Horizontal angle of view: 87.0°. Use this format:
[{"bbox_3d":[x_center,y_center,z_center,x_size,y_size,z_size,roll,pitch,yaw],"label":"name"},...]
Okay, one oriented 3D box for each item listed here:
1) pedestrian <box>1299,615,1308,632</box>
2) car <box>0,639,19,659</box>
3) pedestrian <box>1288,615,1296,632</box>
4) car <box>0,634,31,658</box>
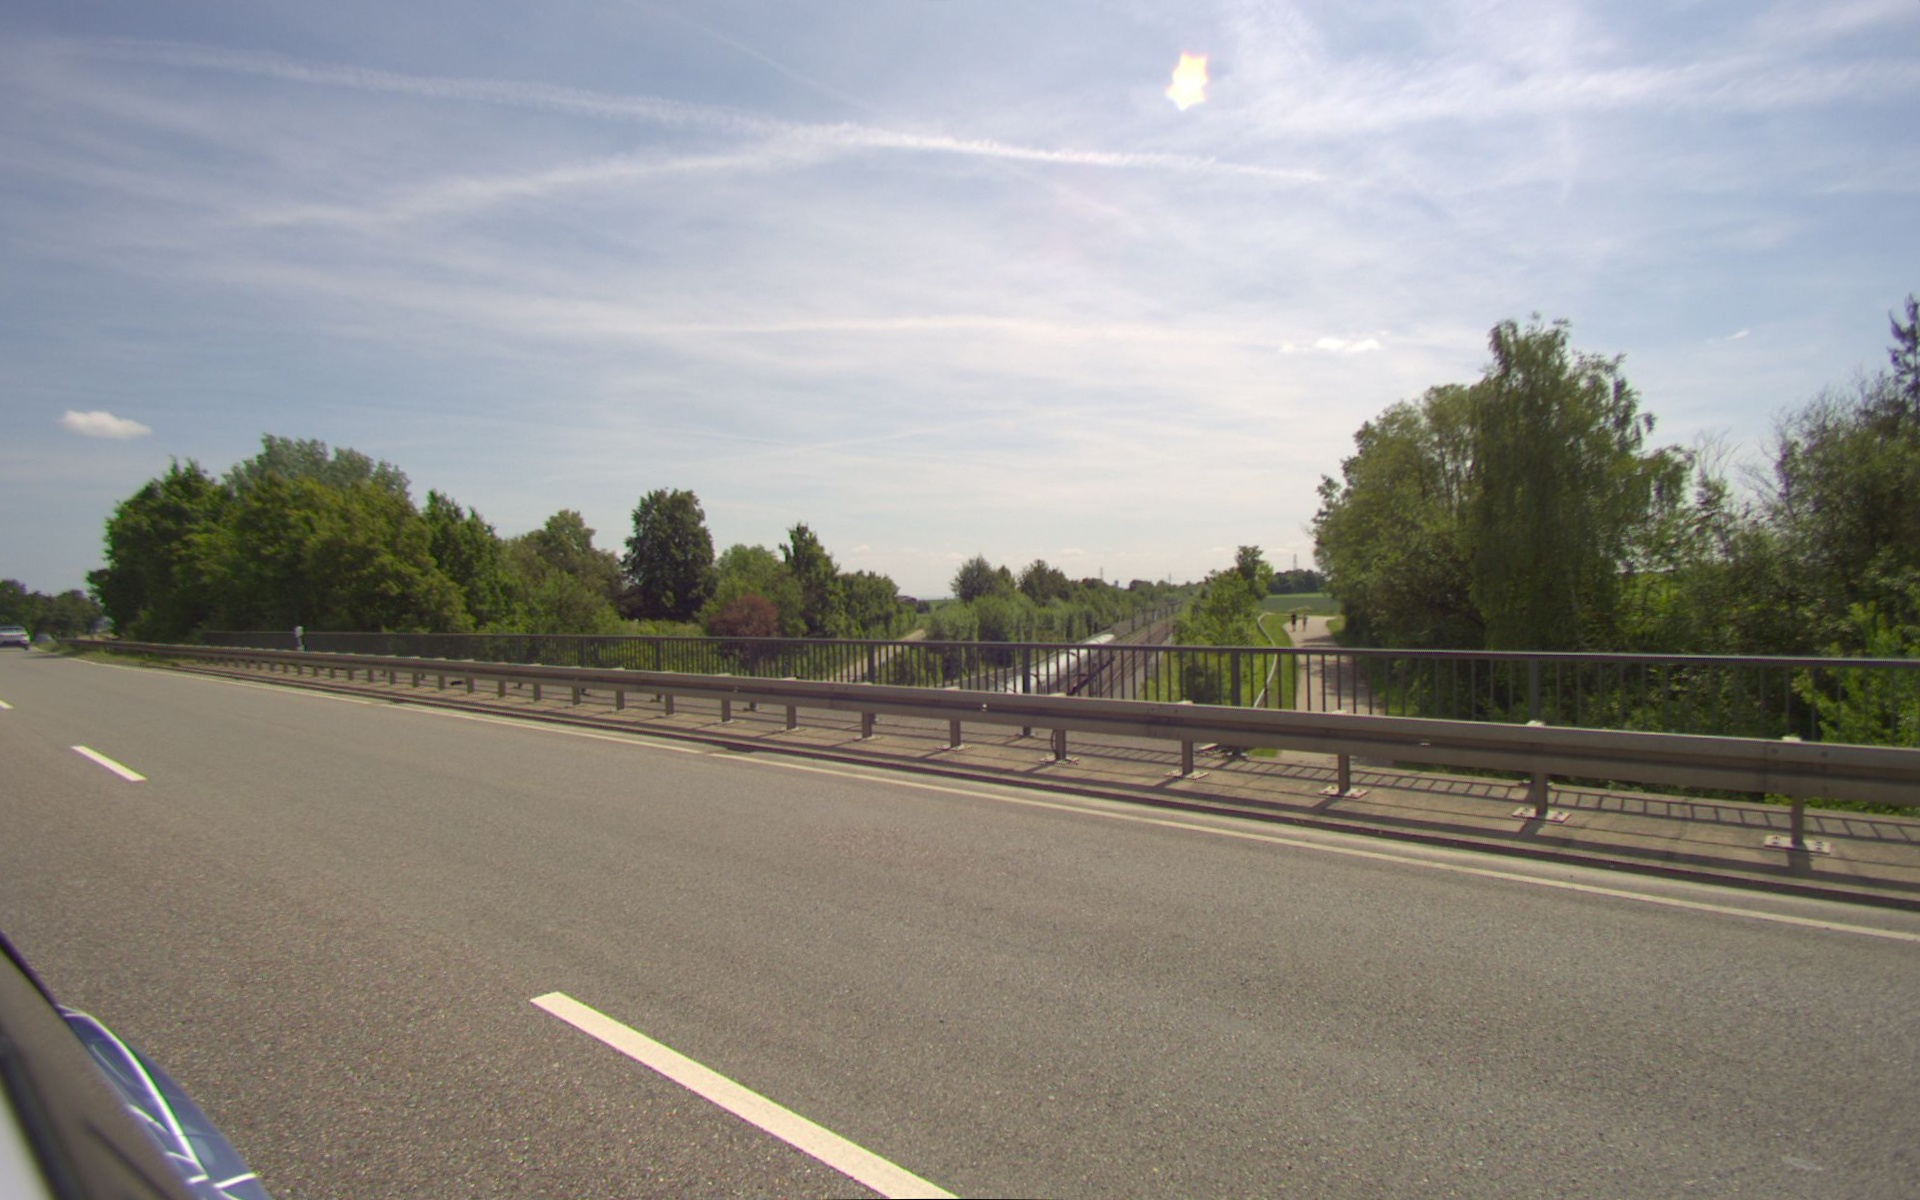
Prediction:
[{"bbox_3d":[33.349,2.265,98.240,0.766,1.652,0.816,-1,0,15],"label":"pedestrian"},{"bbox_3d":[-78.897,4.046,83.631,1.640,1.563,4.342,1,-2,-43],"label":"car"},{"bbox_3d":[32.339,2.284,98.535,0.696,1.652,0.802,-1,0,15],"label":"pedestrian"},{"bbox_3d":[-62.147,2.984,66.241,1.857,1.523,4.547,1,-2,-44],"label":"car"}]
